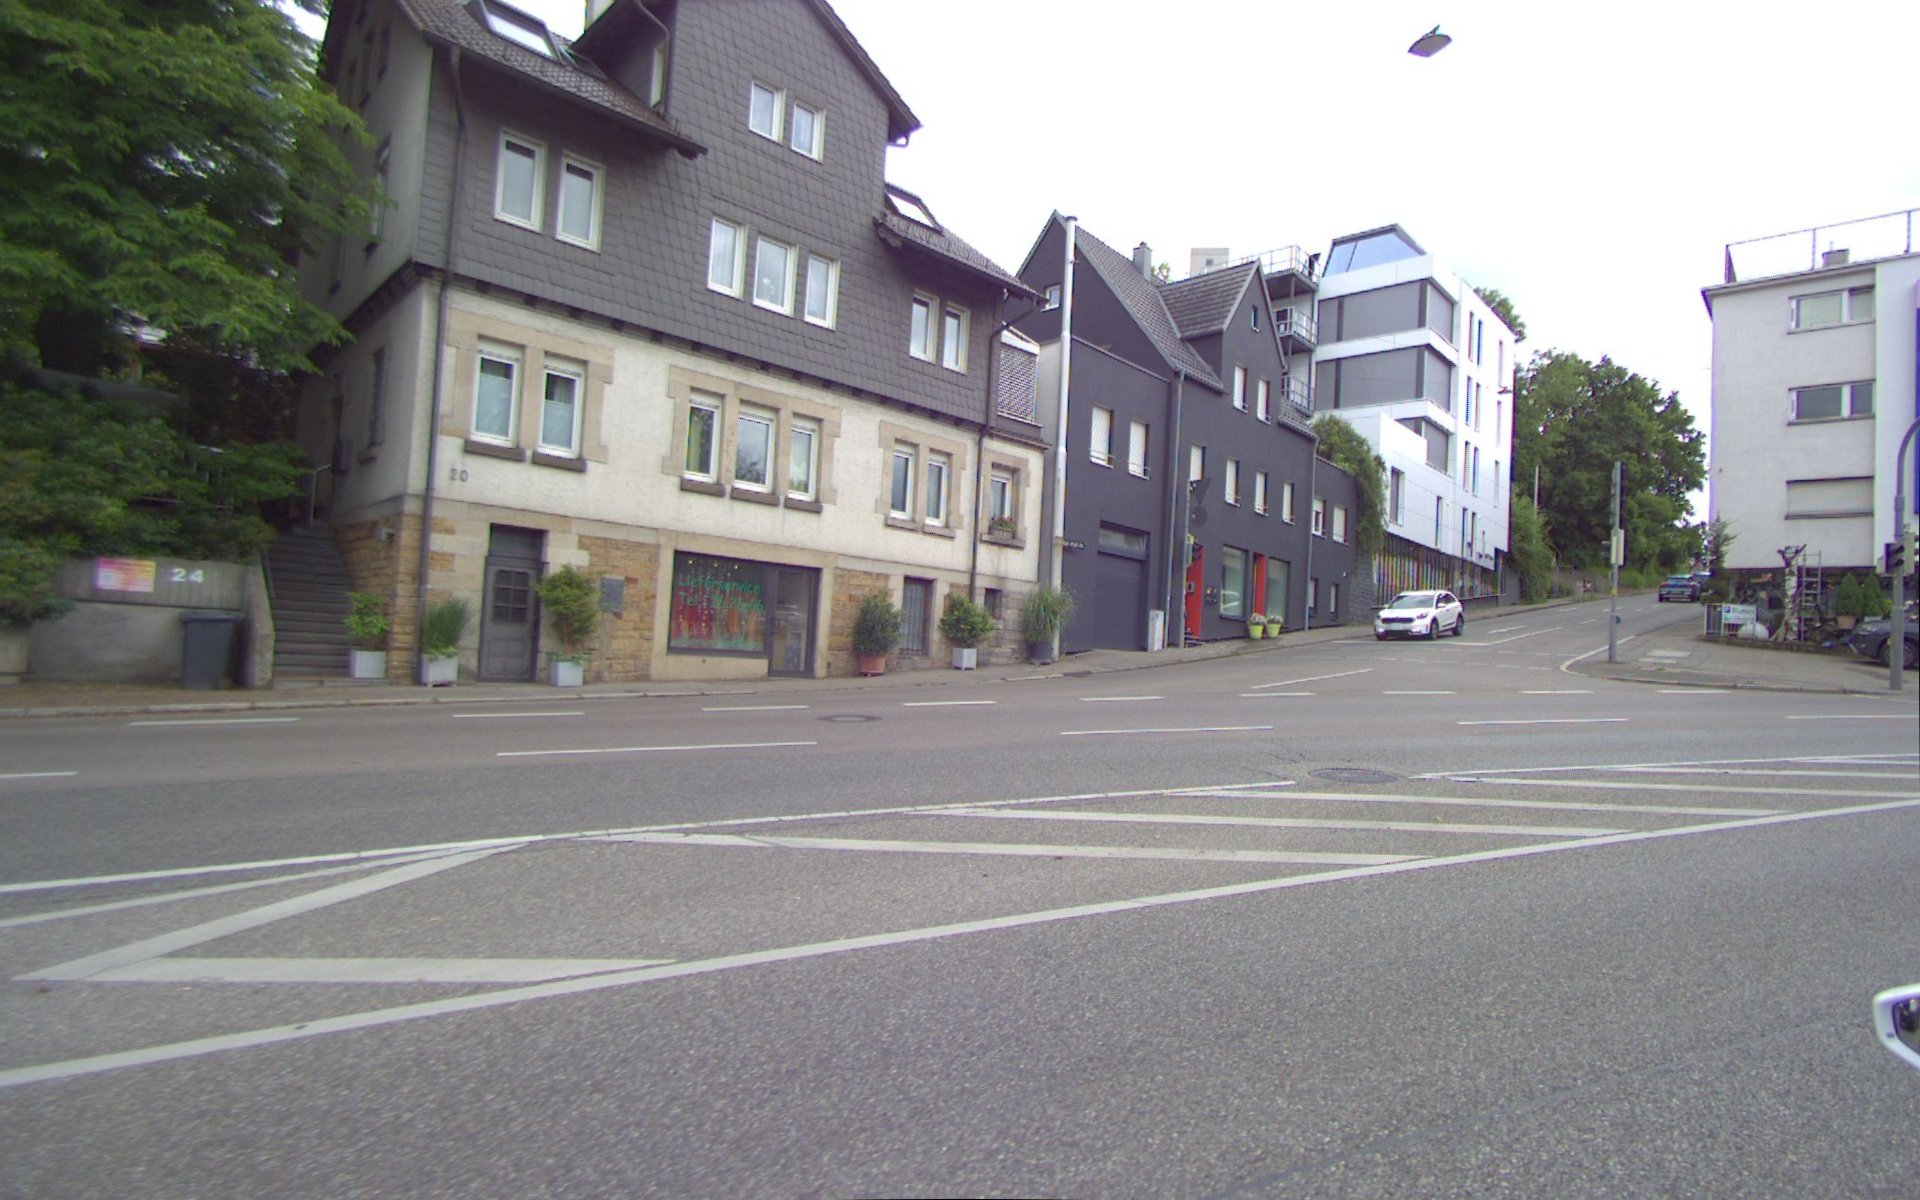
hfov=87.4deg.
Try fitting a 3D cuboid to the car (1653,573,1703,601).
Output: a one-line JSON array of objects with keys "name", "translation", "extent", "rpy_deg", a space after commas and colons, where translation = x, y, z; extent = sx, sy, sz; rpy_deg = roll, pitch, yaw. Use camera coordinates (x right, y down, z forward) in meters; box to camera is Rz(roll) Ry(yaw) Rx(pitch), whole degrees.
[{"name": "car", "translation": [42.451, -0.816, 59.387], "extent": [1.762, 1.600, 3.974], "rpy_deg": [2, 2, 45]}]

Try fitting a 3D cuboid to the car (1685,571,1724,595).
[{"name": "car", "translation": [51.137, -1.168, 68.963], "extent": [1.760, 1.600, 3.977], "rpy_deg": [2, 2, 42]}]

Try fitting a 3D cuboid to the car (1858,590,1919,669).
[{"name": "car", "translation": [24.575, 0.842, 23.902], "extent": [4.637, 1.736, 2.304], "rpy_deg": [6, 6, 43]}]

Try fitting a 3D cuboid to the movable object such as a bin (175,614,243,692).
[{"name": "movable object such as a bin", "translation": [-10.290, 0.726, 13.782], "extent": [0.639, 1.032, 0.535], "rpy_deg": [4, -2, -30]}]

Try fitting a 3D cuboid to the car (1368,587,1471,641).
[{"name": "car", "translation": [15.216, 0.407, 33.148], "extent": [1.862, 1.589, 4.364], "rpy_deg": [0, 2, 42]}]
